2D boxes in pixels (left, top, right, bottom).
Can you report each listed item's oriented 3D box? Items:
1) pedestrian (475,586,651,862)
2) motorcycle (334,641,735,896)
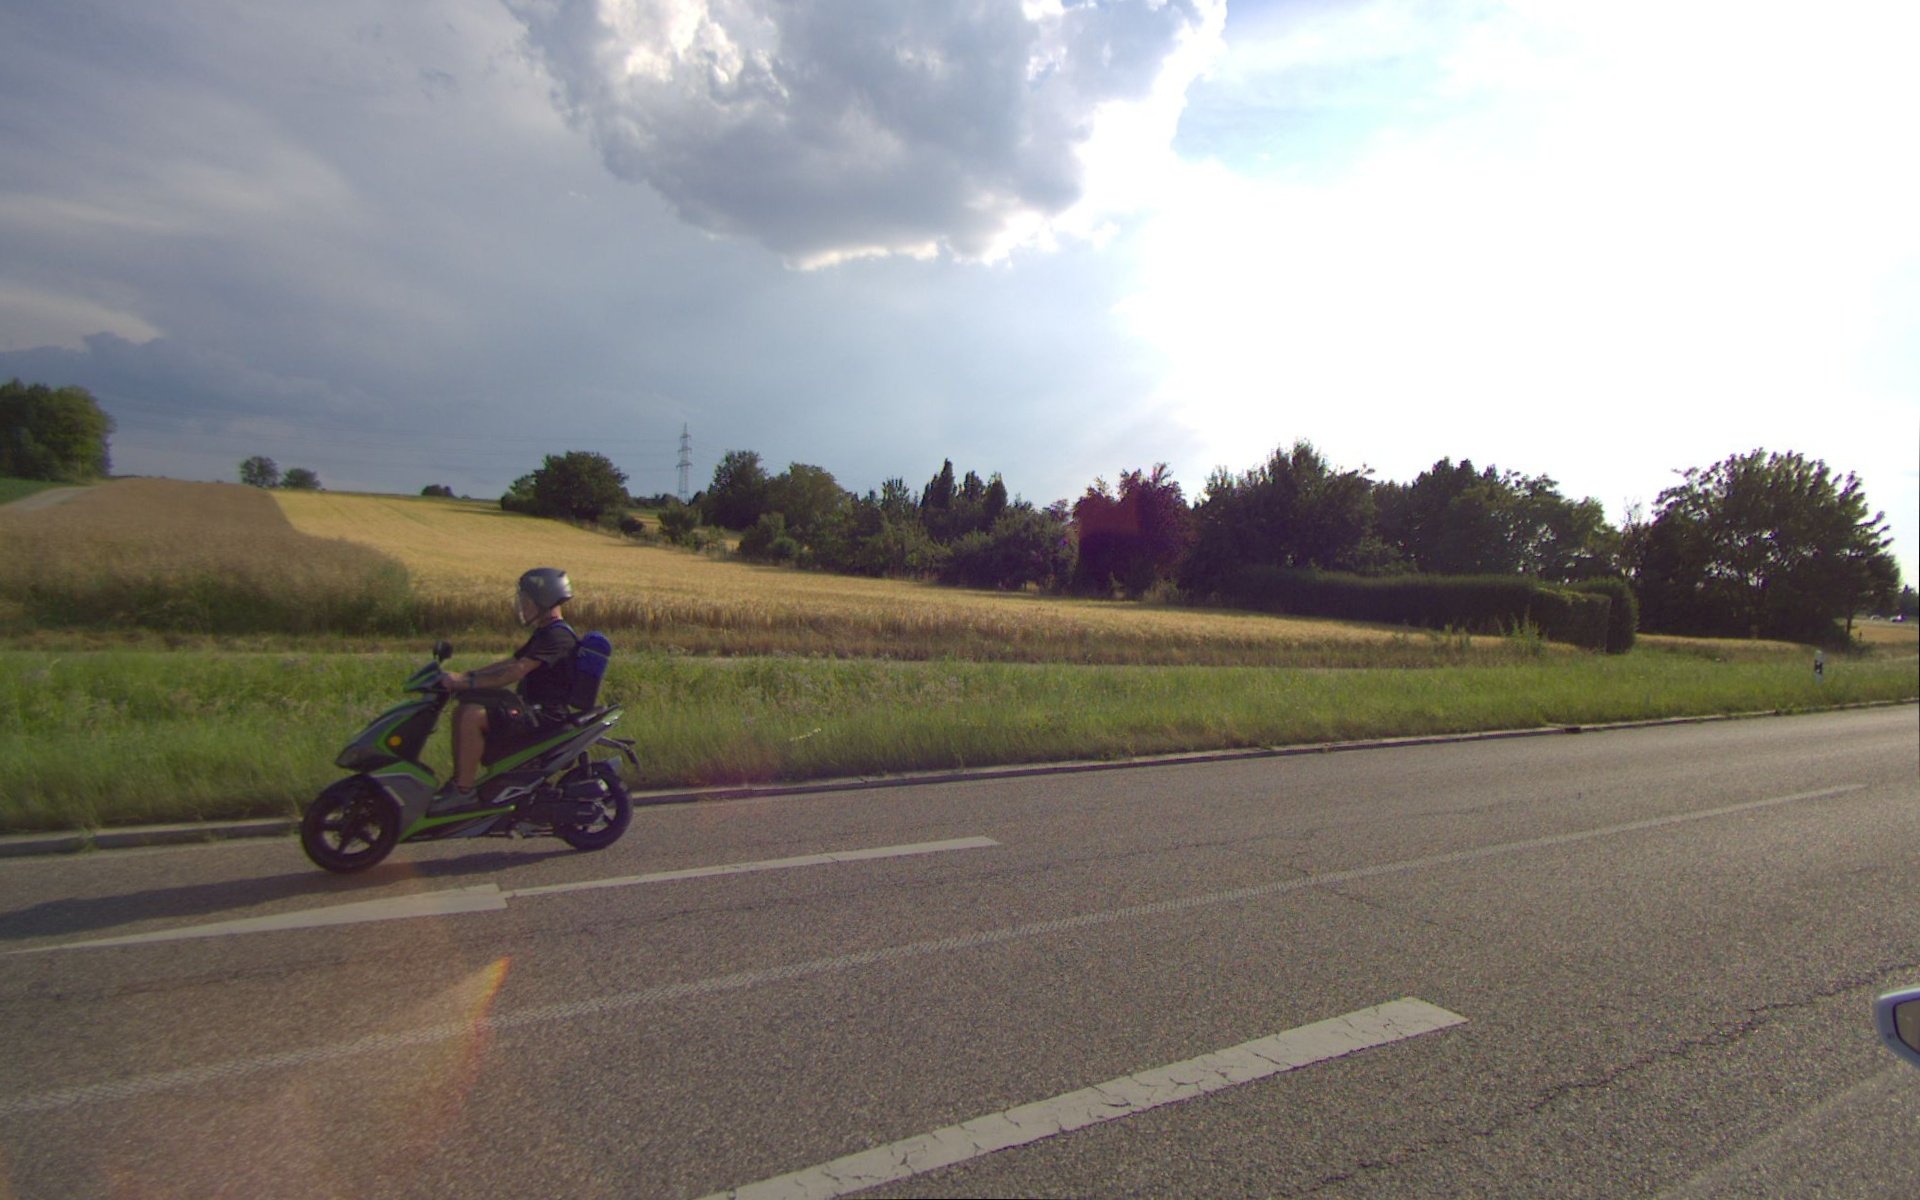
[{"bbox_3d":[-2.374,0.691,6.014,0.856,1.525,0.562,1,0,-34],"label":"pedestrian"},{"bbox_3d":[-2.457,0.896,5.963,2.099,1.277,0.581,2,0,-34],"label":"motorcycle"}]
